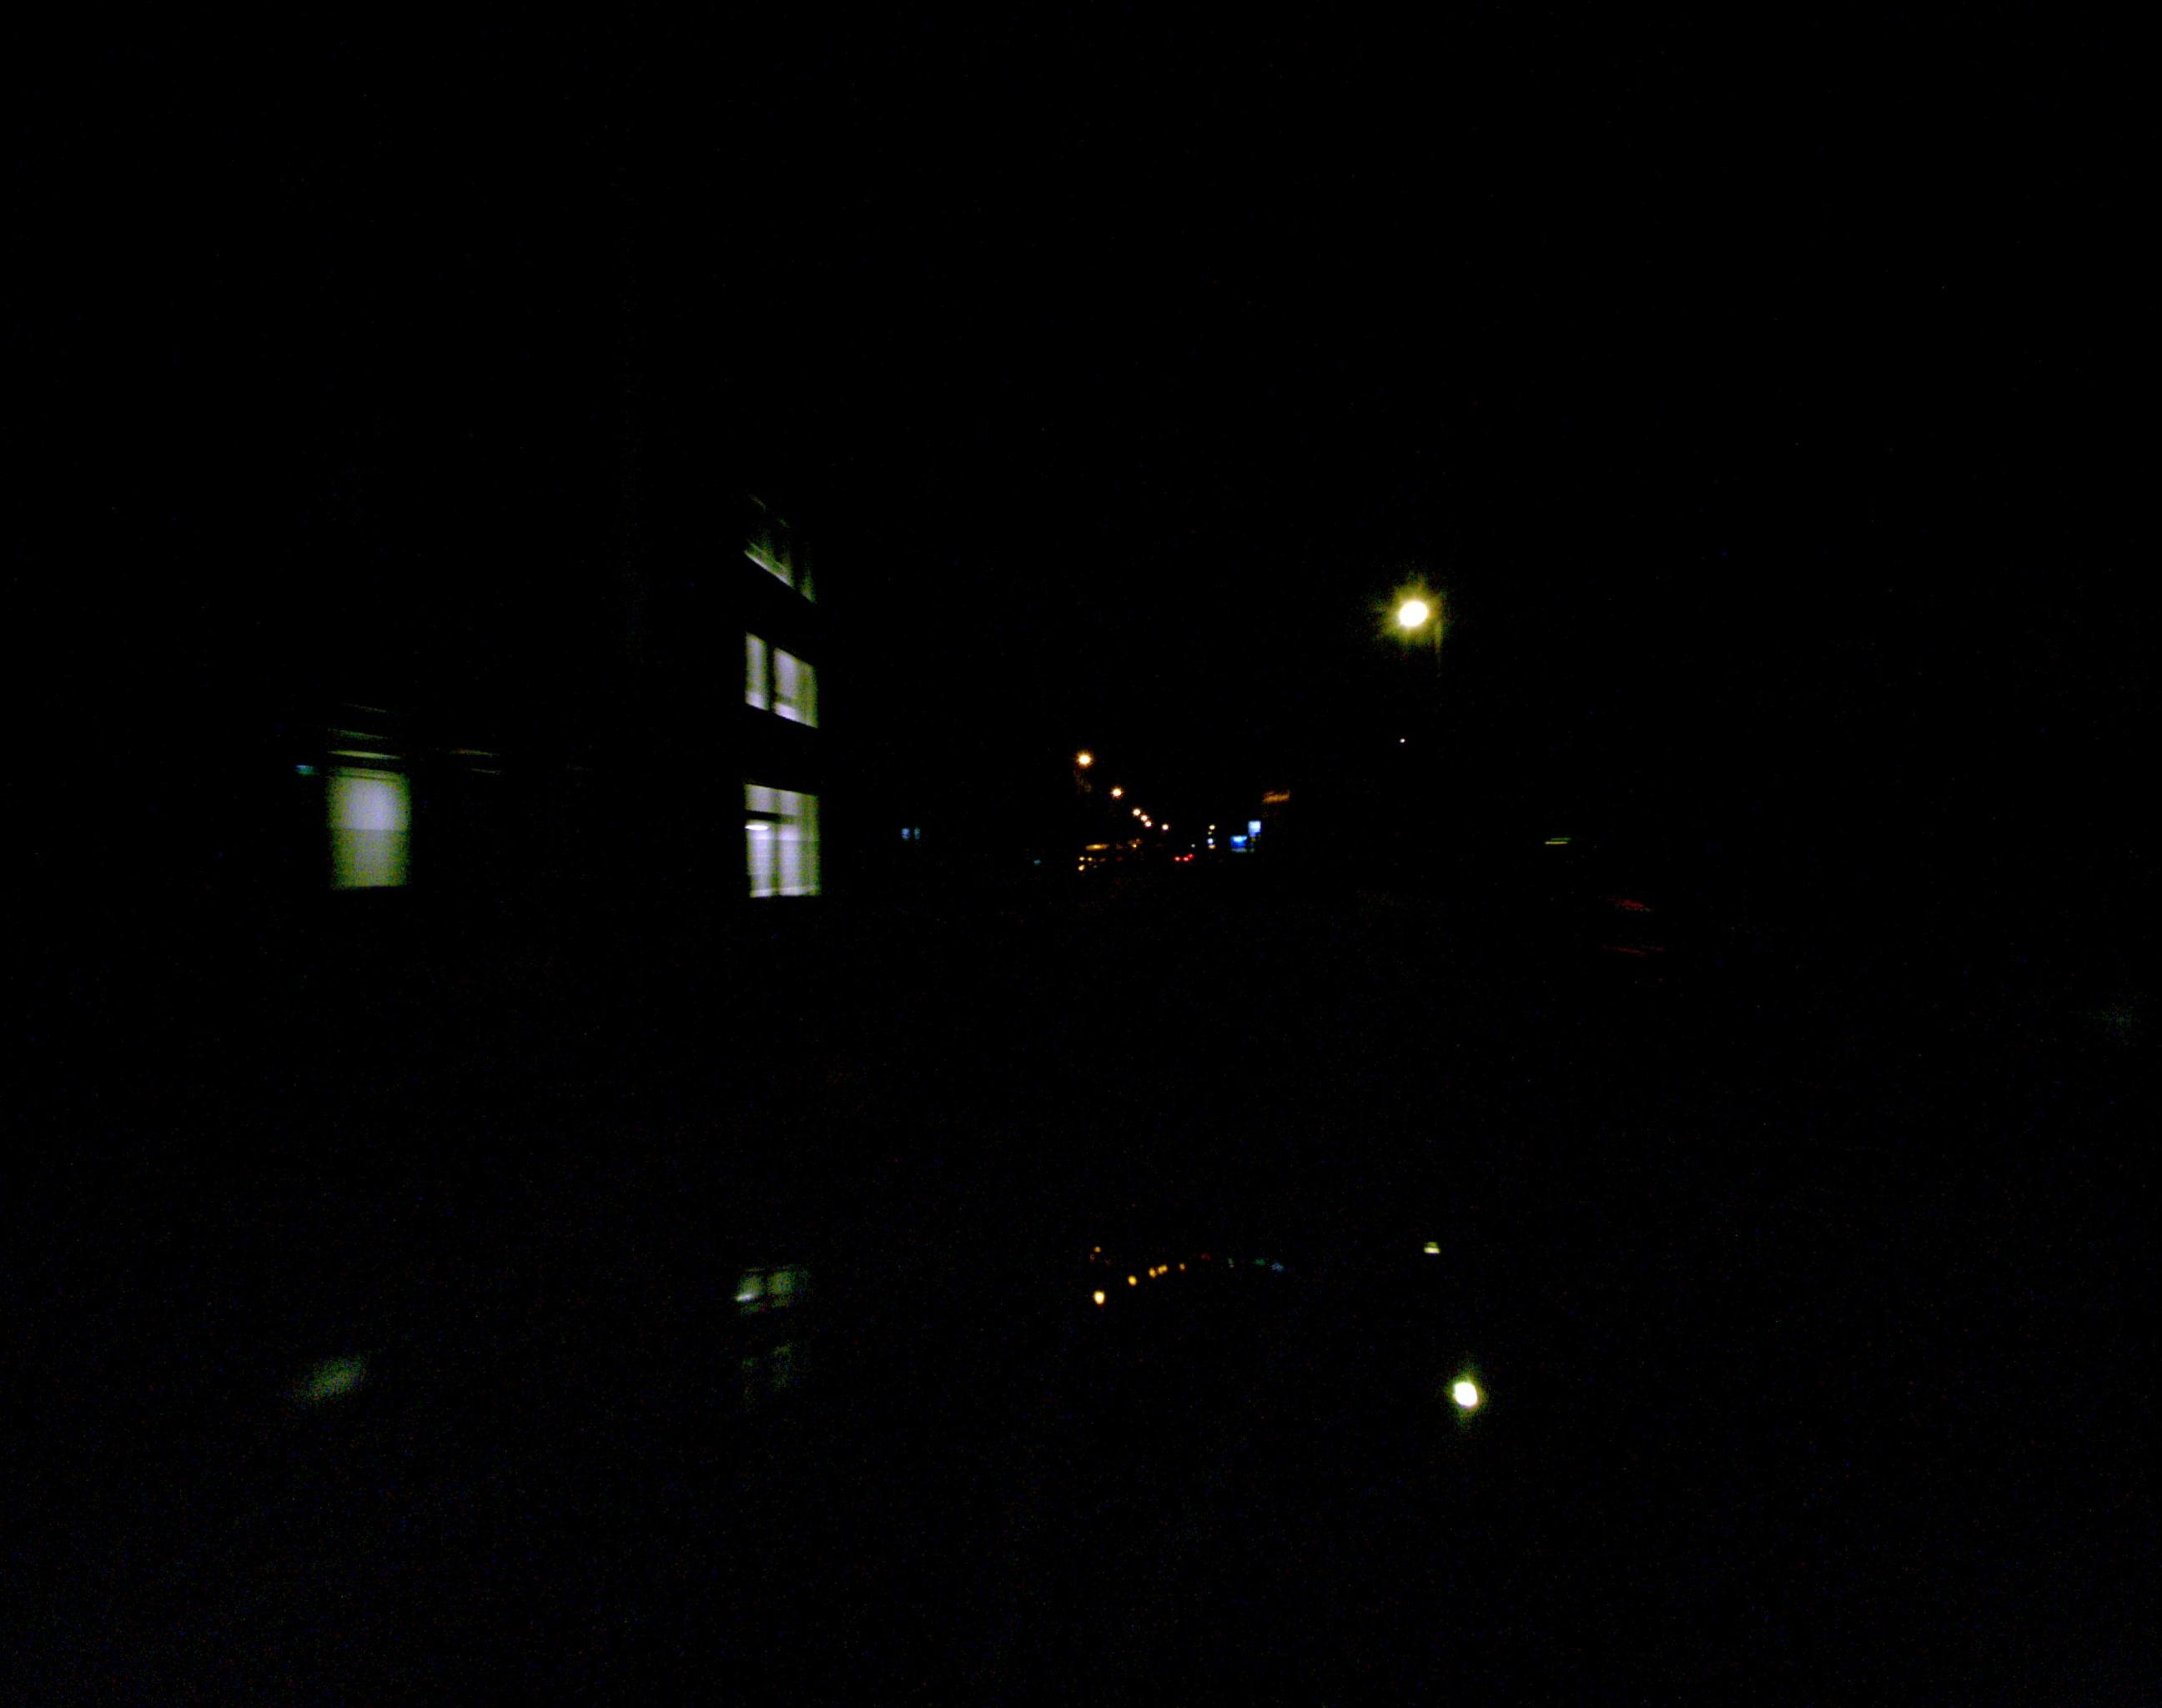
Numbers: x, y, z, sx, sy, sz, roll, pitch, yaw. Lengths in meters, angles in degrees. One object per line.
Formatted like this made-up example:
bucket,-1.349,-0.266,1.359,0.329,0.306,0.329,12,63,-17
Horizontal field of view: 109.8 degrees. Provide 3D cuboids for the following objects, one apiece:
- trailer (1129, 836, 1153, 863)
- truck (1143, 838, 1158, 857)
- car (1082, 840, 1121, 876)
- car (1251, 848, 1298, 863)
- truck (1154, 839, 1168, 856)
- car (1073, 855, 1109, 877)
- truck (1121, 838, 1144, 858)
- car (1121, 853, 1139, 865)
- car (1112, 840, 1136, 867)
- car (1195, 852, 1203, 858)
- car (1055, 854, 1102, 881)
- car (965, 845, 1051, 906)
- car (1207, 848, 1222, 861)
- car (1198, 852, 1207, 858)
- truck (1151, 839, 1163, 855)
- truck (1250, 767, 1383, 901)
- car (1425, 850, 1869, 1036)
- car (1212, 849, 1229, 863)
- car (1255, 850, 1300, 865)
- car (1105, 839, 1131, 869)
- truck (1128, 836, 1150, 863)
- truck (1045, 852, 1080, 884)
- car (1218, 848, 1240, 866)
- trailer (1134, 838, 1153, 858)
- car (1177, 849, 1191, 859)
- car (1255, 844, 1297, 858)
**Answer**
trailer,9.375,-0.719,117.748,2.771,3.742,14.663,-2,0,8
truck,15.140,-1.352,165.635,2.796,3.946,9.826,-2,0,7
car,1.673,0.262,58.946,1.997,2.511,5.913,-4,0,10
car,21.190,0.138,83.106,4.676,1.542,1.996,-1,1,-21
truck,21.959,-1.816,208.828,3.070,4.449,5.639,-2,1,12
car,0.751,0.792,52.585,1.772,1.404,4.553,-1,0,10
truck,6.867,-0.794,101.169,2.406,2.579,6.601,-1,0,9
car,6.067,0.585,94.533,1.833,1.399,4.911,-4,0,7
car,4.587,-0.038,79.976,1.997,2.556,6.017,-4,0,7
car,27.412,0.163,176.595,1.689,1.357,3.881,-2,0,8
car,-0.090,0.785,46.154,1.950,1.480,5.014,-1,0,10
car,-2.479,0.688,27.231,1.997,2.002,4.914,0,0,7
car,18.523,0.070,105.313,1.808,1.788,4.881,-1,0,8
car,25.257,0.189,157.816,1.760,1.382,4.311,-1,0,9
truck,19.882,-1.731,198.624,2.658,3.850,10.239,-2,-2,8
truck,8.232,-0.628,27.937,2.752,4.010,9.563,-1,0,6
car,6.381,0.812,9.597,1.948,1.707,5.199,-1,0,3
car,17.330,0.215,94.501,1.950,1.678,4.819,-1,0,9
car,20.877,0.355,80.781,4.419,1.432,1.790,-1,1,-21
car,3.598,0.006,72.954,2.133,2.556,5.911,-4,0,5
truck,8.457,-0.629,111.048,2.771,3.742,5.231,-2,1,8
truck,-0.974,0.721,41.286,1.373,1.635,3.814,-1,1,6
car,15.494,0.308,79.652,1.817,1.838,4.416,-1,1,6
trailer,11.409,-1.115,137.196,2.883,3.504,8.288,-1,0,8
car,14.651,0.011,108.024,1.861,1.412,4.002,-1,0,7
car,22.669,-0.309,88.388,4.418,1.551,1.997,-1,1,-17
